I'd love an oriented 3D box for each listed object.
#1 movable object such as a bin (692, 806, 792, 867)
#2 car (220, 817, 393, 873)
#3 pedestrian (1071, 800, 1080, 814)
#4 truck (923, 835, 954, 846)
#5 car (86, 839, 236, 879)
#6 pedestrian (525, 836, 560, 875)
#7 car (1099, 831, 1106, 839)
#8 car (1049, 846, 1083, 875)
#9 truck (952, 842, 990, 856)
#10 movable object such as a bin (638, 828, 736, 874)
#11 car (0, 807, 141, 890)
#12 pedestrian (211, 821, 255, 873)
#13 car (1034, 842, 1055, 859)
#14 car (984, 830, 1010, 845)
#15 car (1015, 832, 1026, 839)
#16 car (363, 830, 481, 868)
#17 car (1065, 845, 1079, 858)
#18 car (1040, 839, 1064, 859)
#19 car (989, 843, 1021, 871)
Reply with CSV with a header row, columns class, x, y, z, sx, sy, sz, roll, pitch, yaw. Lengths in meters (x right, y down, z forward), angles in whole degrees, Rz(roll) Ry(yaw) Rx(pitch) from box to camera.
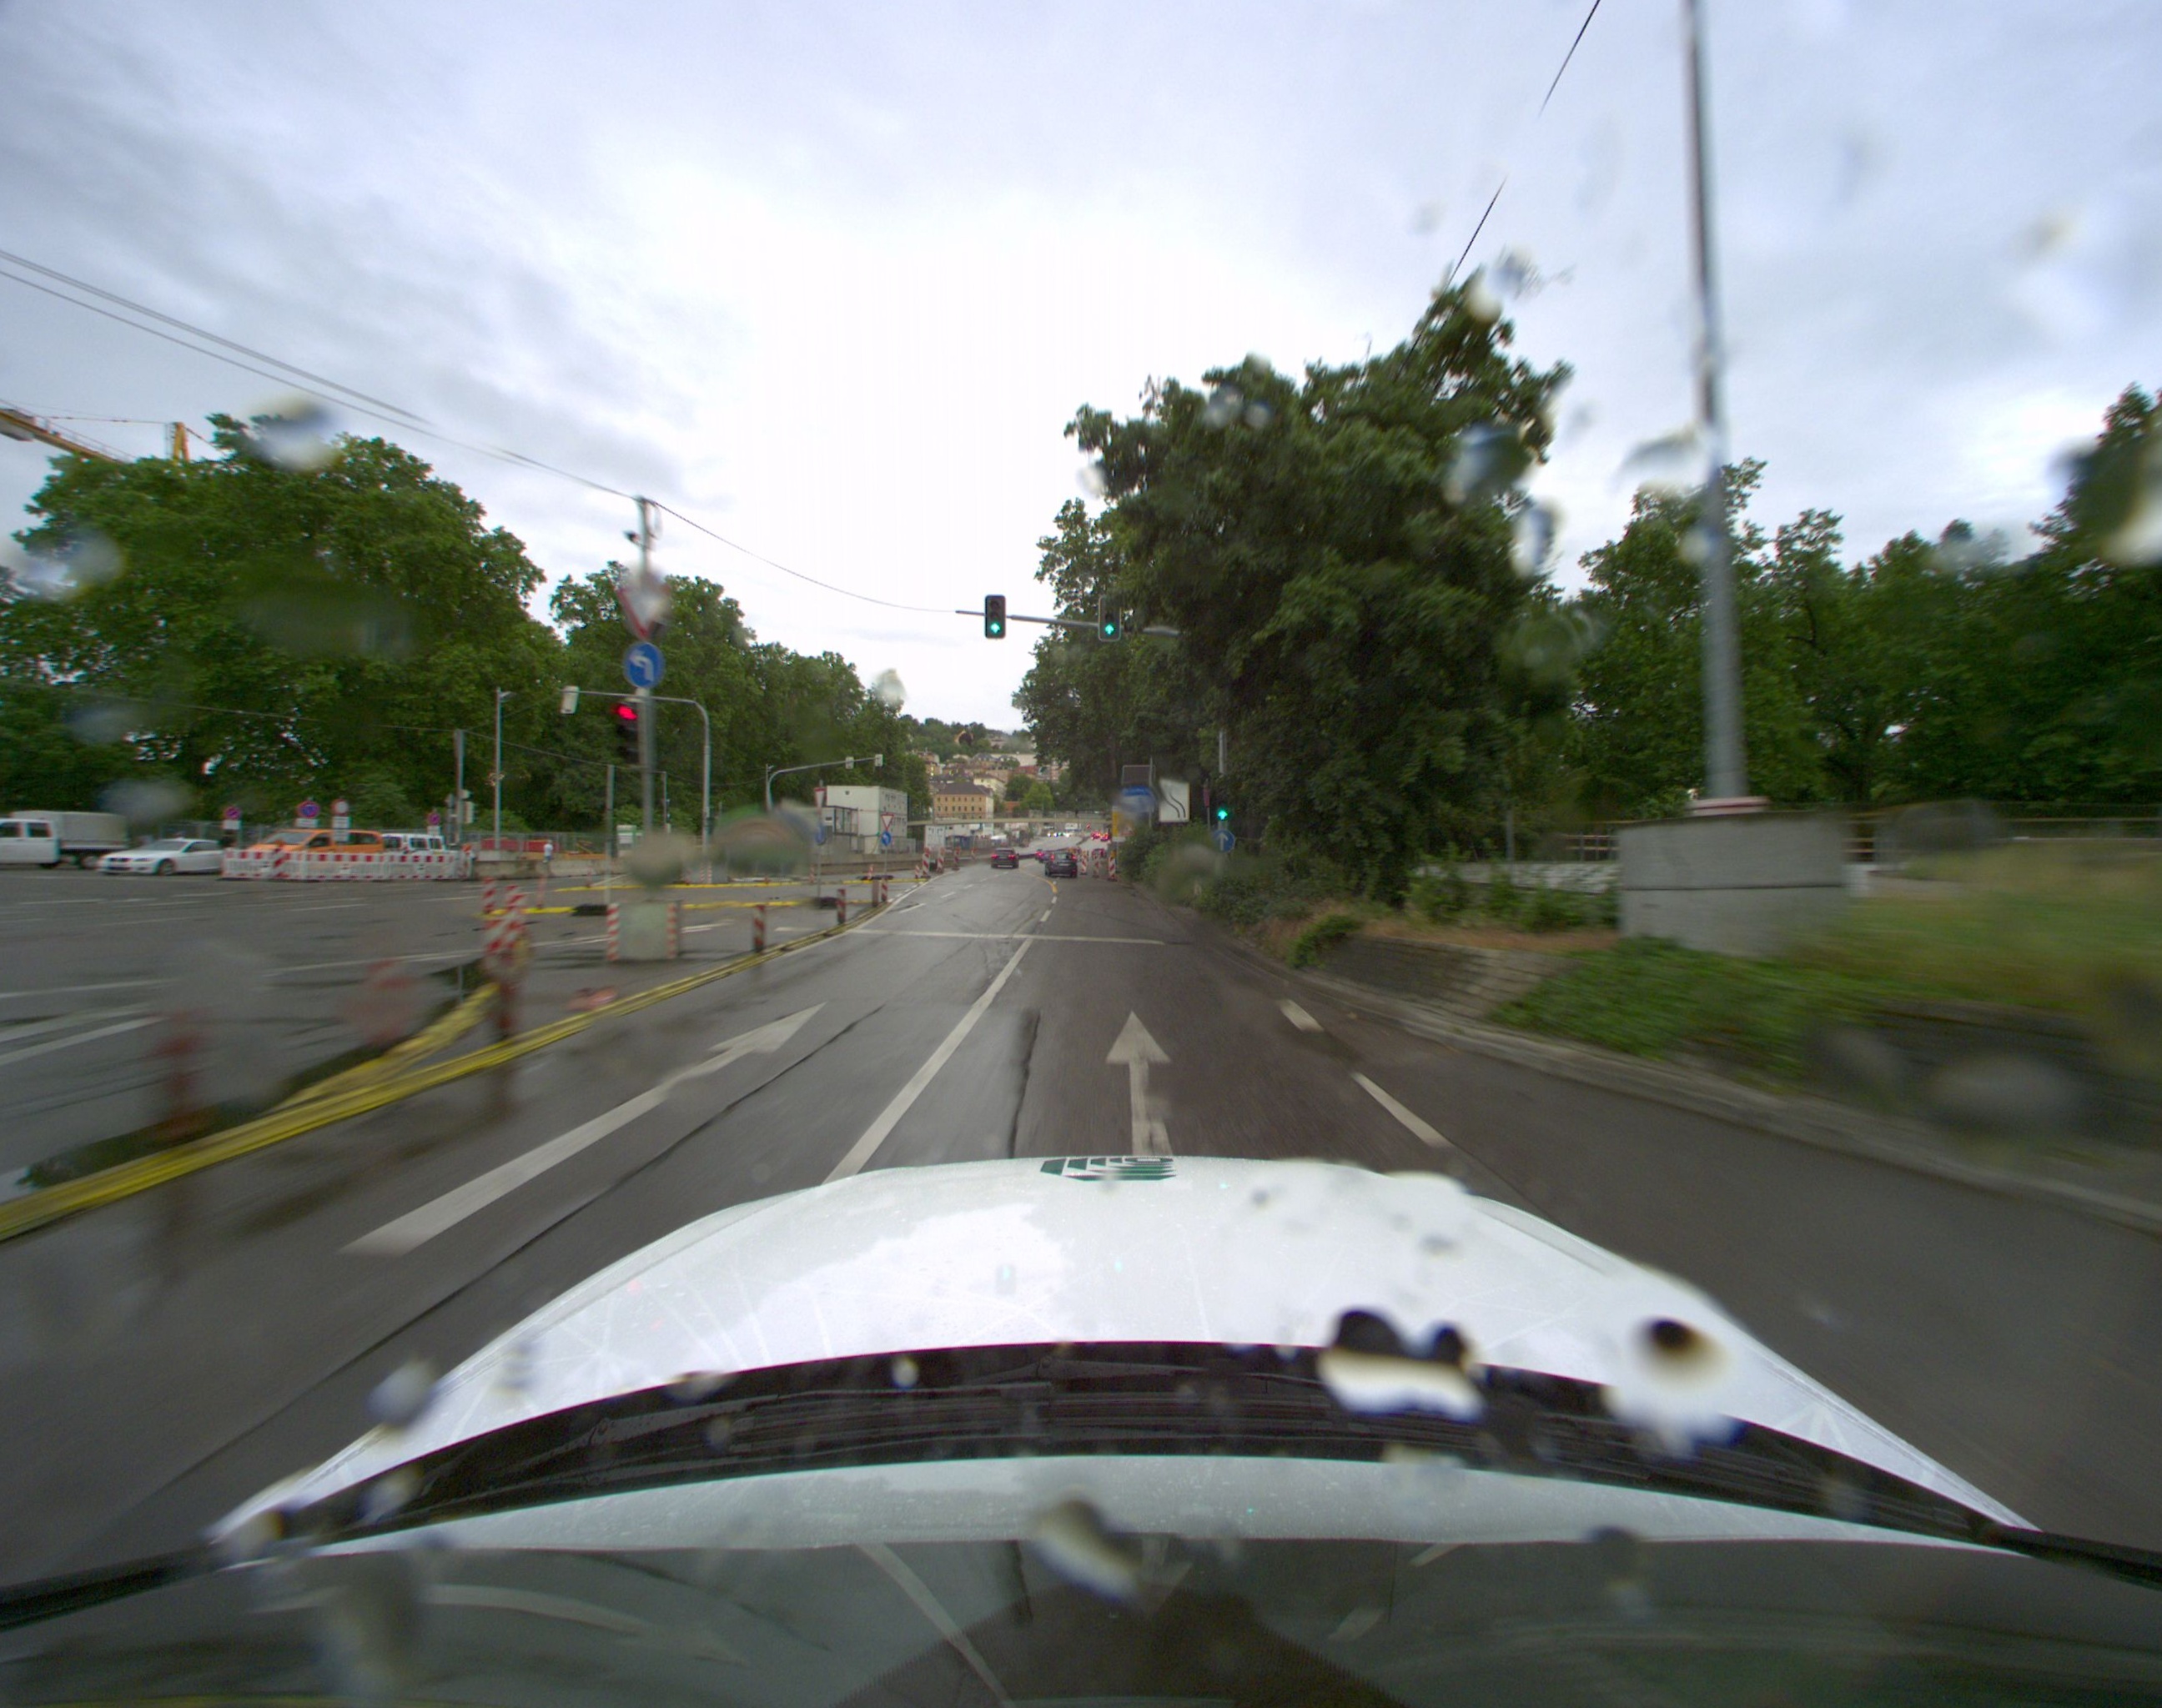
class,x,y,z,sx,sy,sz,roll,pitch,yaw
movable object such as a bin,-28.638,-1.447,69.363,4.732,4.802,8.362,-1,0,1
car,-32.216,-0.372,34.200,1.988,2.100,5.578,-2,1,-2
pedestrian,-0.887,-7.232,126.232,1.140,2.060,1.063,-1,0,11
truck,-25.765,-2.435,147.728,5.232,2.013,2.163,-1,1,-2
car,-34.782,0.168,30.944,1.758,1.415,3.820,-1,1,-10
pedestrian,-28.552,0.080,43.207,1.182,2.013,1.168,1,1,-15
car,5.687,-4.976,215.394,1.986,1.869,4.002,-1,1,2
car,-0.896,0.355,46.622,1.808,1.526,3.997,-1,1,-2
truck,-18.702,-0.856,139.180,6.265,2.452,2.690,-1,0,-4
movable object such as a bin,-28.992,-0.242,60.299,3.918,3.128,6.390,-1,1,1
car,-40.945,-0.210,31.372,2.266,3.066,6.169,-1,1,0
pedestrian,-33.614,-0.286,32.279,0.918,2.013,0.737,0,1,-5
car,-4.507,-0.417,100.650,1.984,2.013,4.007,-1,1,6
car,-16.764,-3.255,162.662,1.974,2.875,6.090,0,1,30
car,-14.434,-4.441,194.020,1.983,1.621,4.009,0,3,7
car,-32.291,-0.258,40.134,1.838,1.761,4.798,-1,1,1
car,-1.413,-0.435,134.290,2.043,2.013,4.002,-1,1,2
car,-2.987,-0.537,84.838,2.096,2.050,4.004,-1,1,3
car,-5.685,0.219,61.317,2.010,2.013,3.999,-1,1,0
